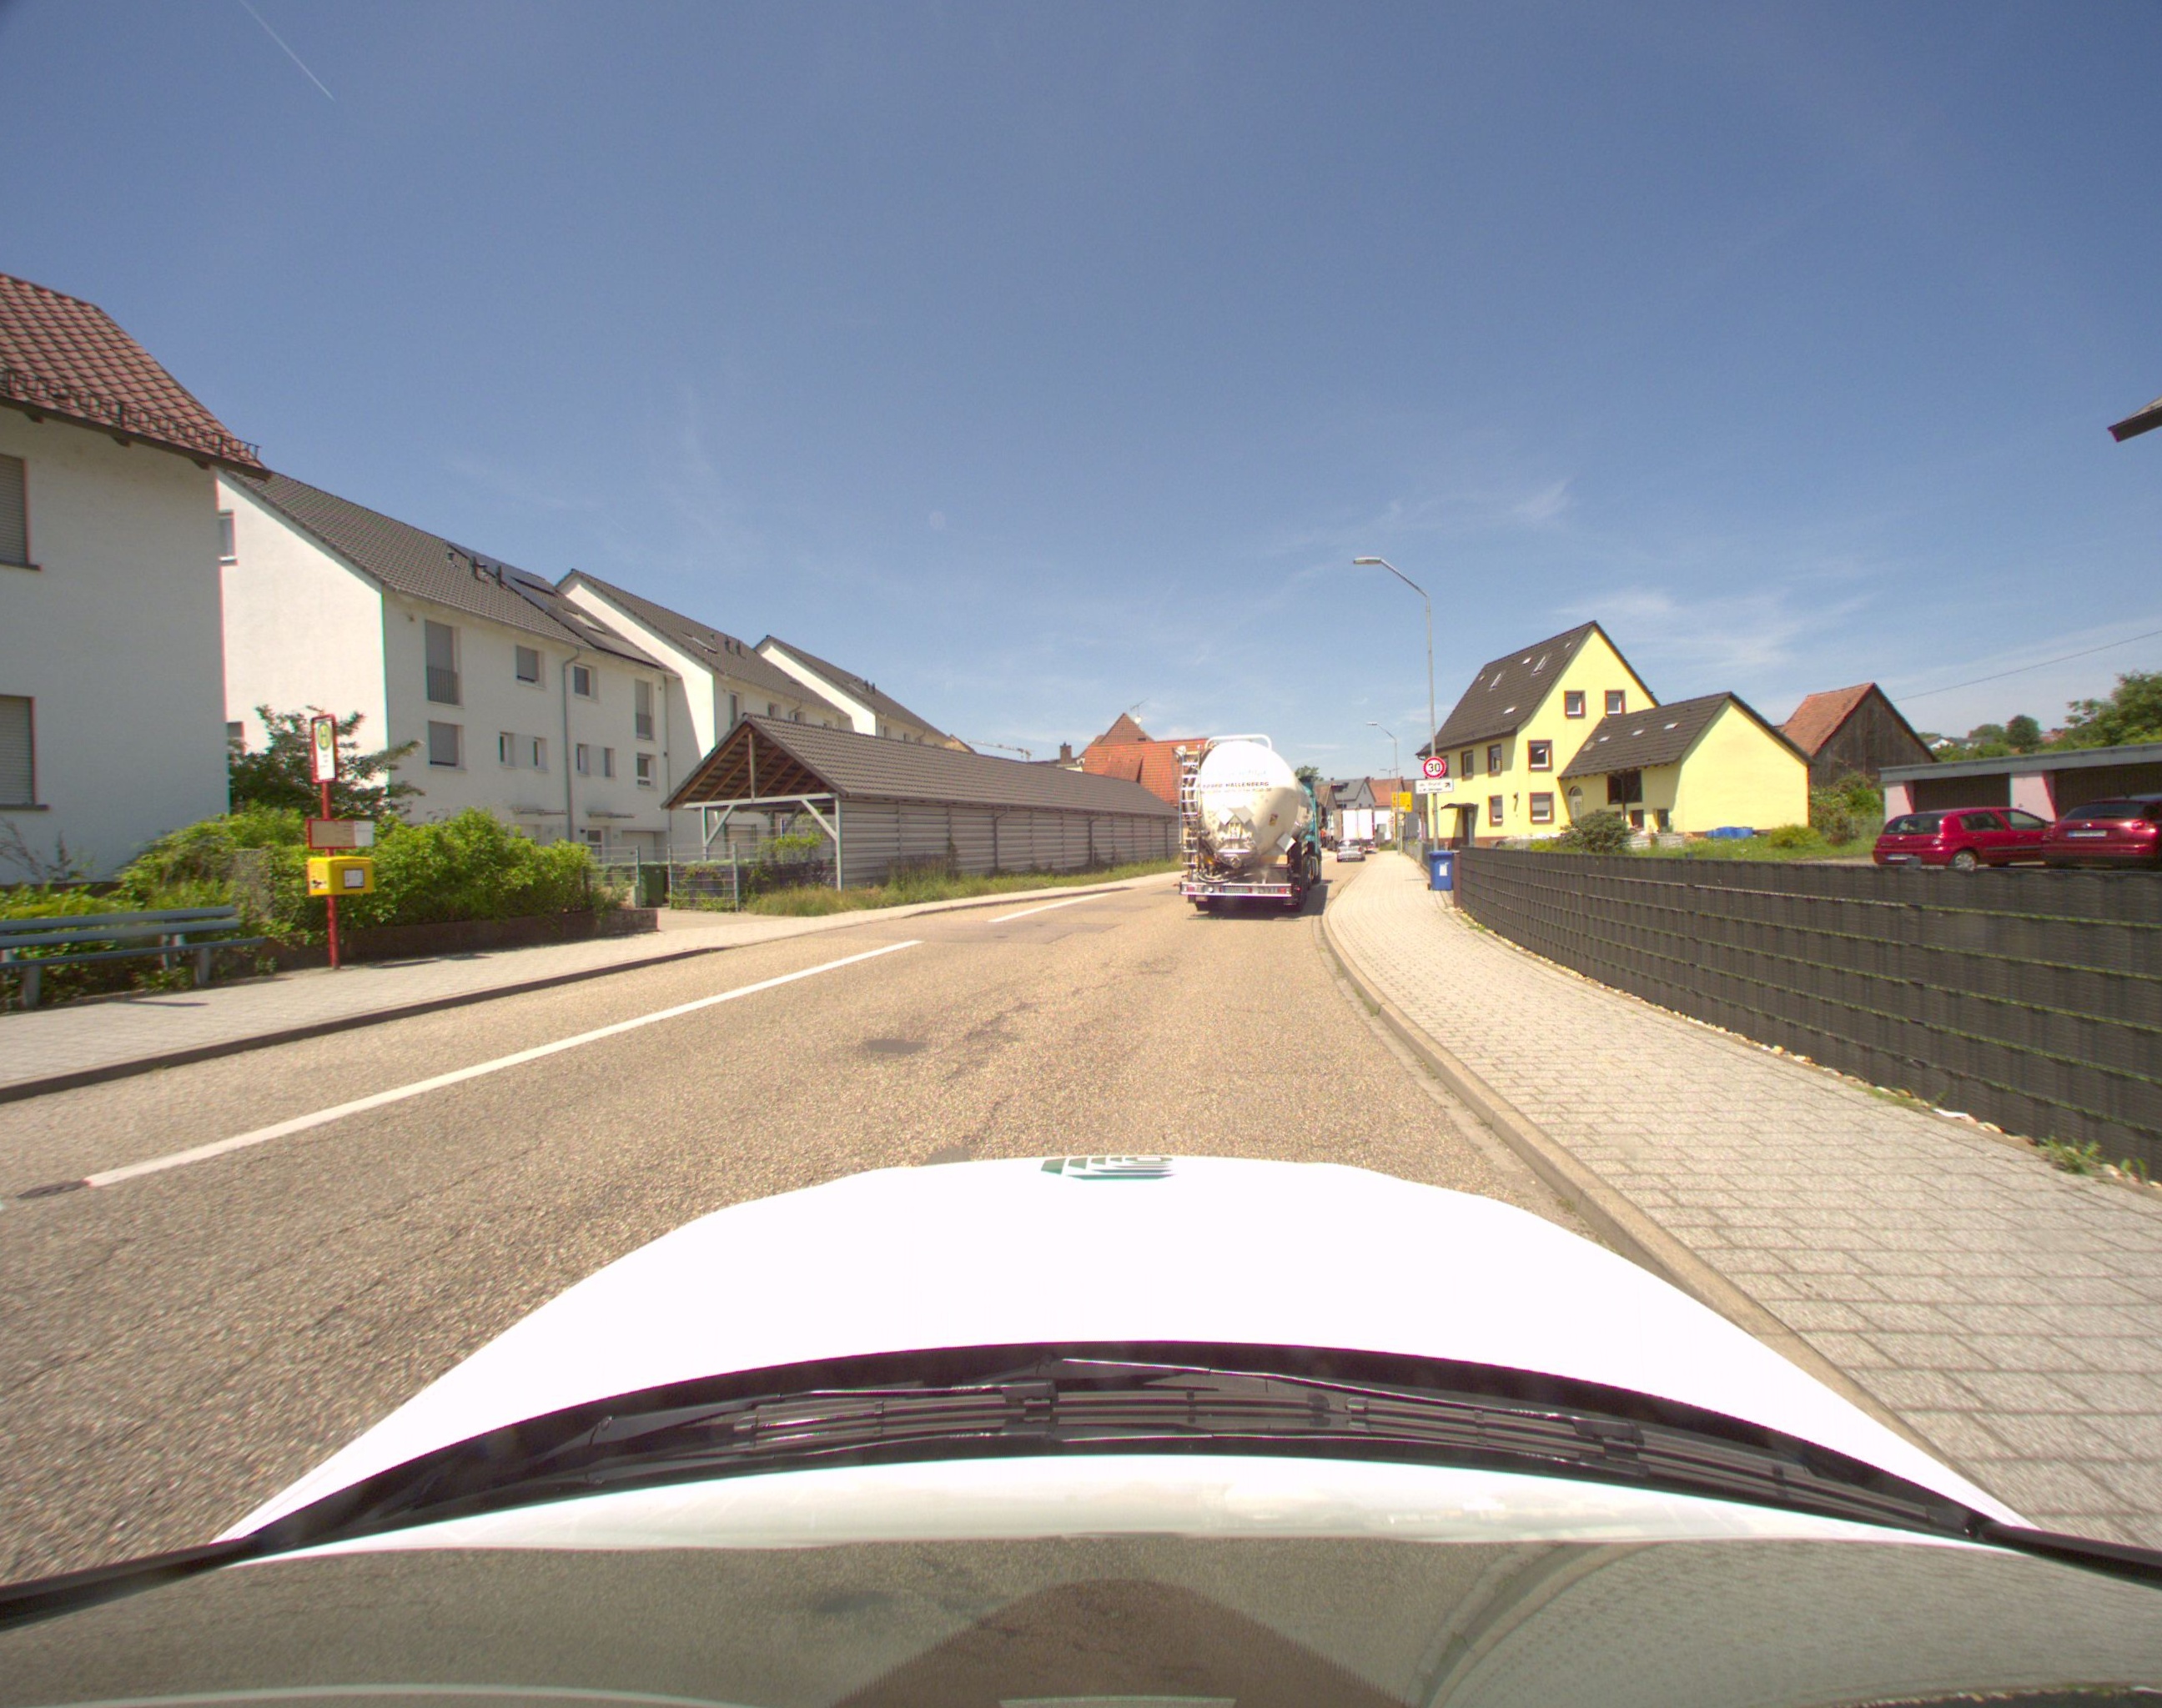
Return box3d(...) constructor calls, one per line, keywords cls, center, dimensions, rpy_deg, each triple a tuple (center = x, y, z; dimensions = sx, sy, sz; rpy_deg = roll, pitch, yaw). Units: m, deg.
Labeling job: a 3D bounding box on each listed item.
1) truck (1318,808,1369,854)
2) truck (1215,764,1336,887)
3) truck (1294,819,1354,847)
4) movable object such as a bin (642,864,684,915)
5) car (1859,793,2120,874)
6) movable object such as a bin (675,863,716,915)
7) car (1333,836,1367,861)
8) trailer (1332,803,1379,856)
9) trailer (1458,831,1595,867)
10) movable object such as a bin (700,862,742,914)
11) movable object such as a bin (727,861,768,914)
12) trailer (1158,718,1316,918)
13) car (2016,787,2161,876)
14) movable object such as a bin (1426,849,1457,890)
box3d(cls="truck", center=(26.149, -2.236, 81.379), dimensions=(3.094, 4.401, 5.935), rpy_deg=(-2, 0, 0))
box3d(cls="truck", center=(7.175, -0.946, 29.455), dimensions=(2.960, 3.965, 5.612), rpy_deg=(-2, 0, 26))
box3d(cls="truck", center=(29.005, -2.424, 97.244), dimensions=(7.490, 3.181, 2.642), rpy_deg=(0, -1, -33))
box3d(cls="movable object such as a bin", center=(-10.873, 0.913, 21.190), dimensions=(0.634, 1.278, 0.698), rpy_deg=(-1, 0, 21))
box3d(cls="car", center=(19.837, -0.443, 17.896), dimensions=(3.815, 1.486, 1.760), rpy_deg=(-3, 0, -2))
box3d(cls="movable object such as a bin", center=(-9.865, 0.883, 20.849), dimensions=(0.634, 1.278, 0.698), rpy_deg=(-1, 0, 21))
box3d(cls="car", center=(17.619, -0.362, 53.388), dimensions=(1.829, 1.486, 4.016), rpy_deg=(-2, 0, 15))
box3d(cls="trailer", center=(24.623, -2.085, 73.531), dimensions=(3.109, 4.277, 12.546), rpy_deg=(-2, 0, 15))
box3d(cls="trailer", center=(20.528, -0.234, 37.627), dimensions=(5.342, 1.546, 2.133), rpy_deg=(-1, 0, -8))
box3d(cls="movable object such as a bin", center=(-9.100, 0.859, 20.612), dimensions=(0.634, 1.278, 0.698), rpy_deg=(-1, 0, 21))
box3d(cls="movable object such as a bin", center=(-8.318, 0.835, 20.318), dimensions=(0.634, 1.278, 0.698), rpy_deg=(-1, 0, 21))
box3d(cls="trailer", center=(4.740, -0.761, 22.138), dimensions=(2.930, 3.947, 11.670), rpy_deg=(-2, 0, 17))
box3d(cls="car", center=(20.651, -0.442, 15.424), dimensions=(4.106, 1.548, 1.847), rpy_deg=(-1, 0, -6))
box3d(cls="movable object such as a bin", center=(9.657, 0.400, 21.833), dimensions=(0.562, 1.057, 0.652), rpy_deg=(-2, 0, 6))
